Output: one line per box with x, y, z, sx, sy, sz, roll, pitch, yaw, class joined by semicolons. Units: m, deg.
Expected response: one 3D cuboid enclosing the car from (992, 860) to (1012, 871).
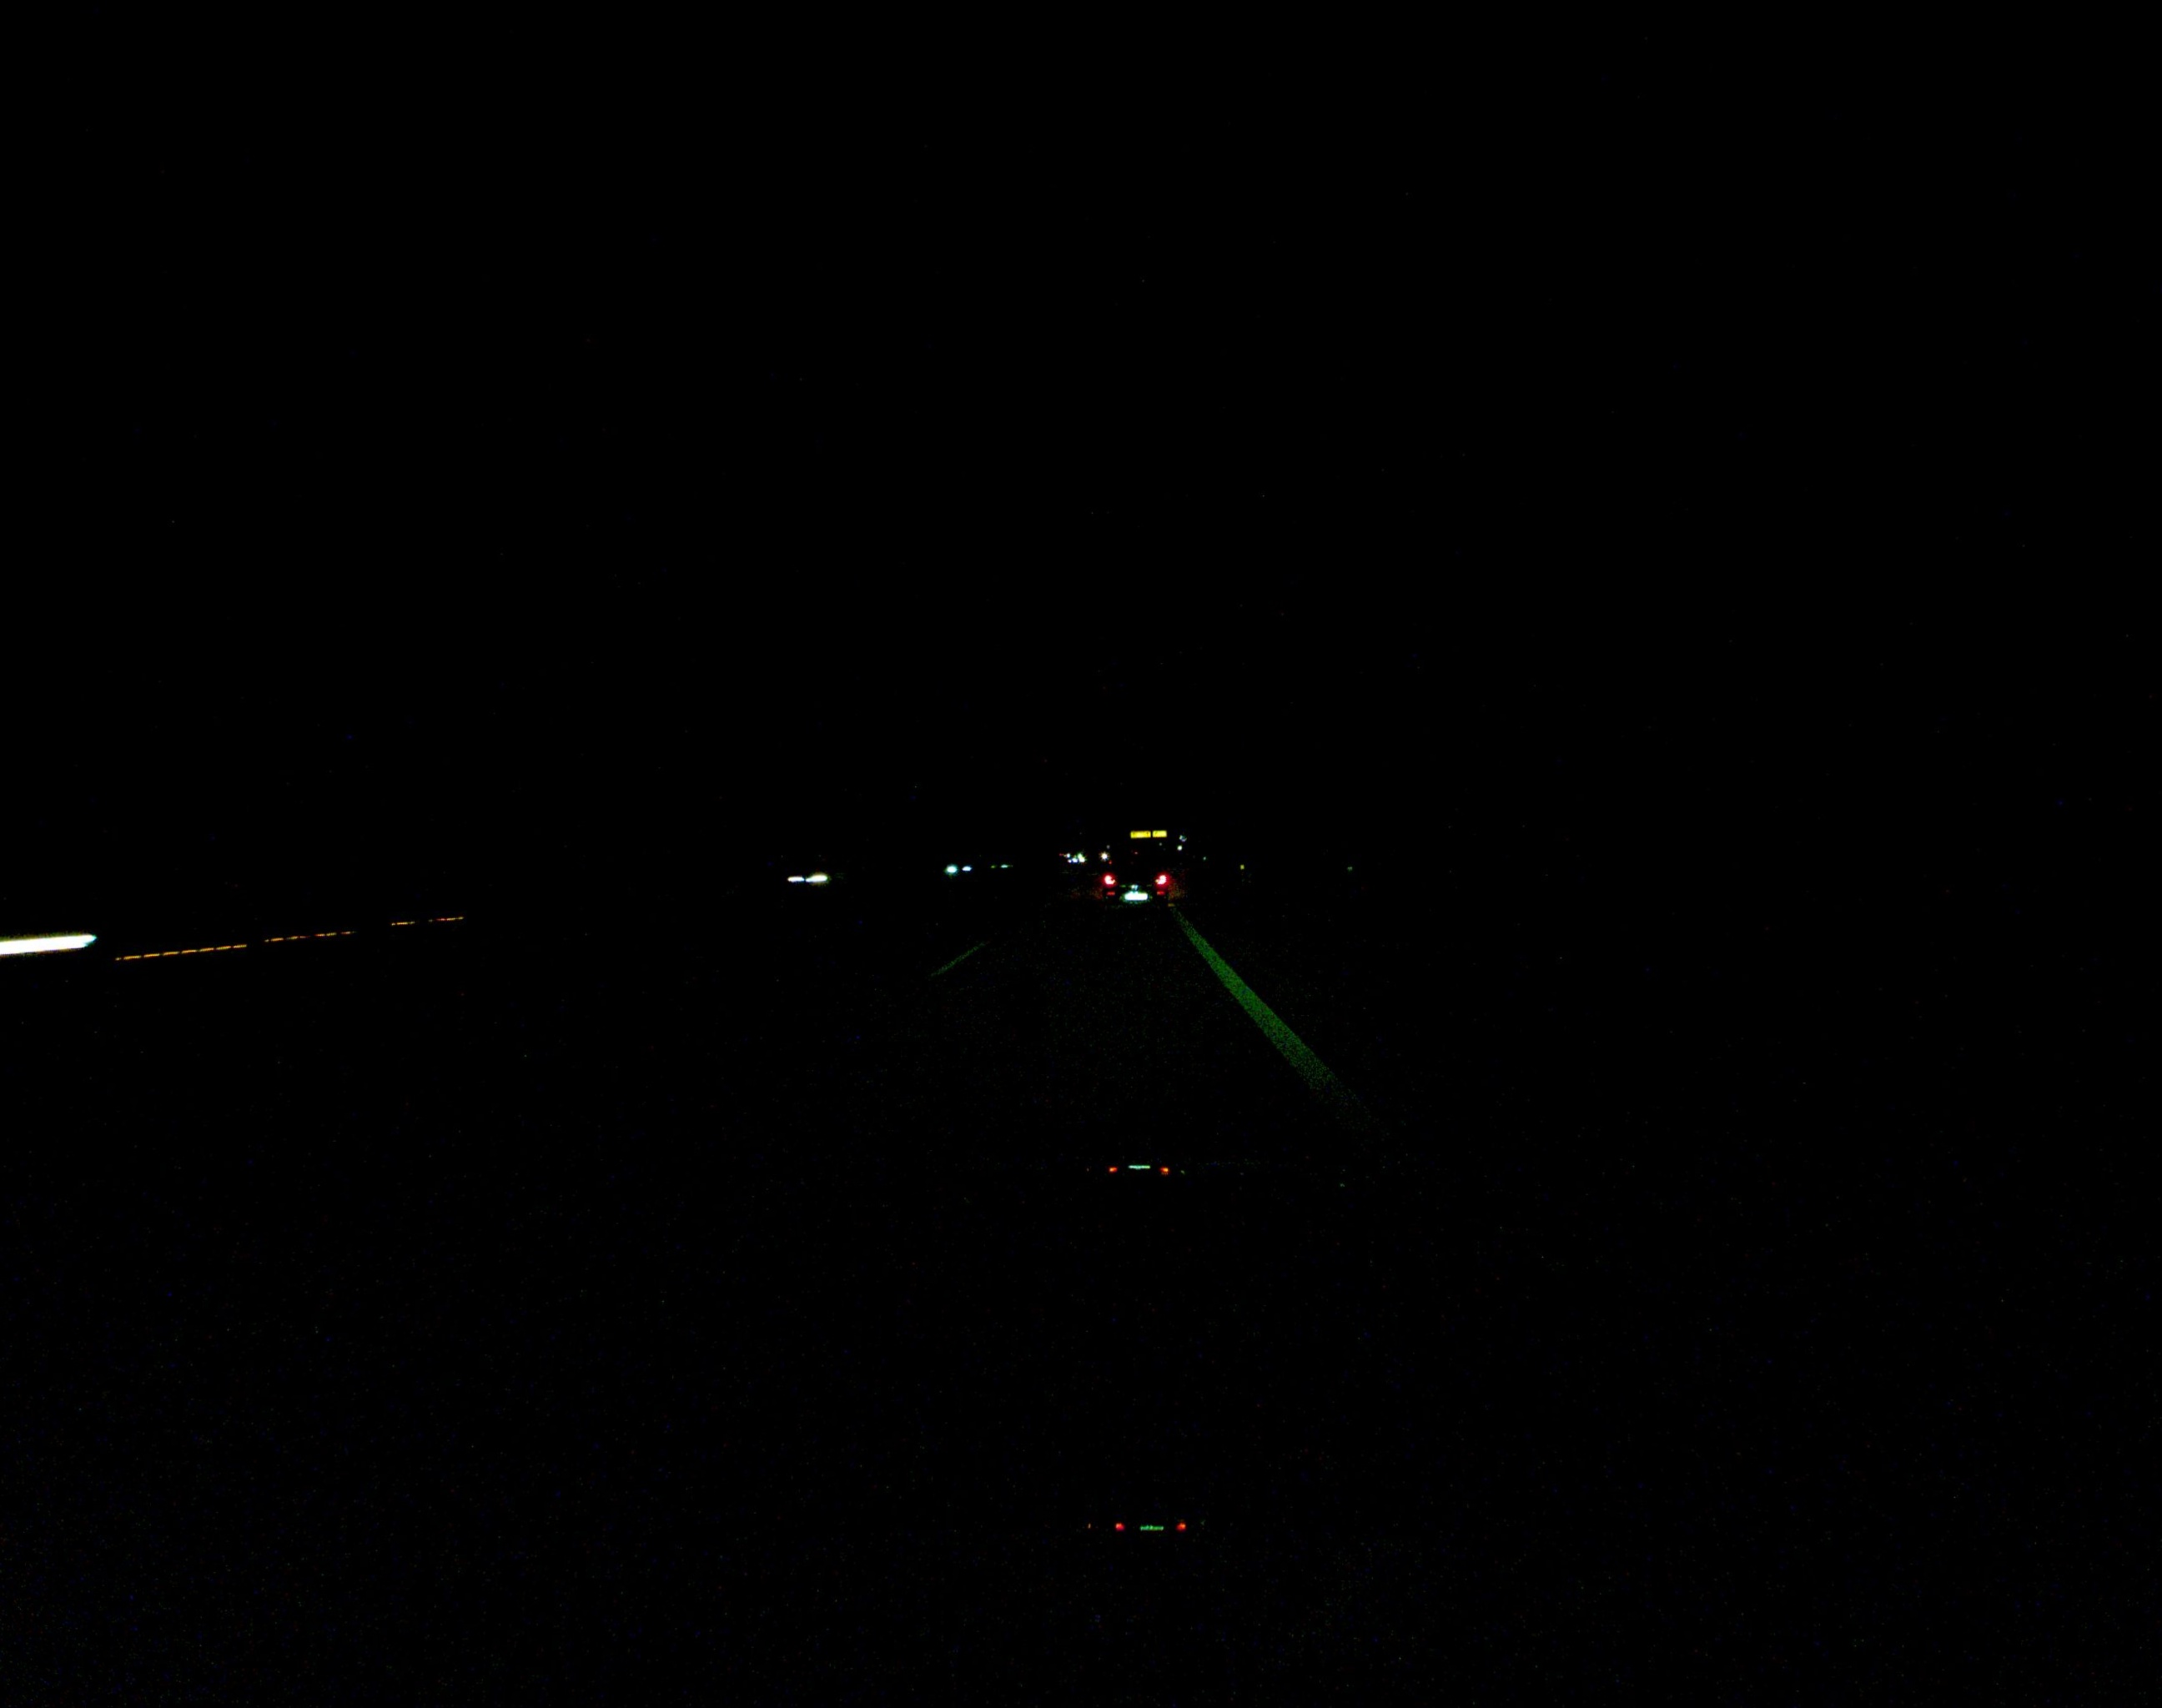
-10.175;1.478;105.599;1.763;1.411;4.850;-1;-1;4;car

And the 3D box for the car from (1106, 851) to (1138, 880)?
2.616;0.693;51.383;1.898;1.698;4.004;-1;0;3;car

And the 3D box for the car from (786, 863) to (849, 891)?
-15.733;1.371;48.921;1.947;1.457;4.178;-3;0;7;car

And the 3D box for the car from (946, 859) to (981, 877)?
-10.736;1.293;74.895;1.947;1.457;4.480;-3;0;7;car

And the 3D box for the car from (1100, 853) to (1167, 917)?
1.393;0.736;21.418;1.581;1.508;4.004;0;0;4;car

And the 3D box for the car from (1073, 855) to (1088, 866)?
-0.019;1.179;143.006;1.947;1.733;5.089;-3;0;7;car

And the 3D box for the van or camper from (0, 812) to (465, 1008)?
-15.297;0.795;14.745;2.286;2.617;7.666;-2;0;1;van or camper
